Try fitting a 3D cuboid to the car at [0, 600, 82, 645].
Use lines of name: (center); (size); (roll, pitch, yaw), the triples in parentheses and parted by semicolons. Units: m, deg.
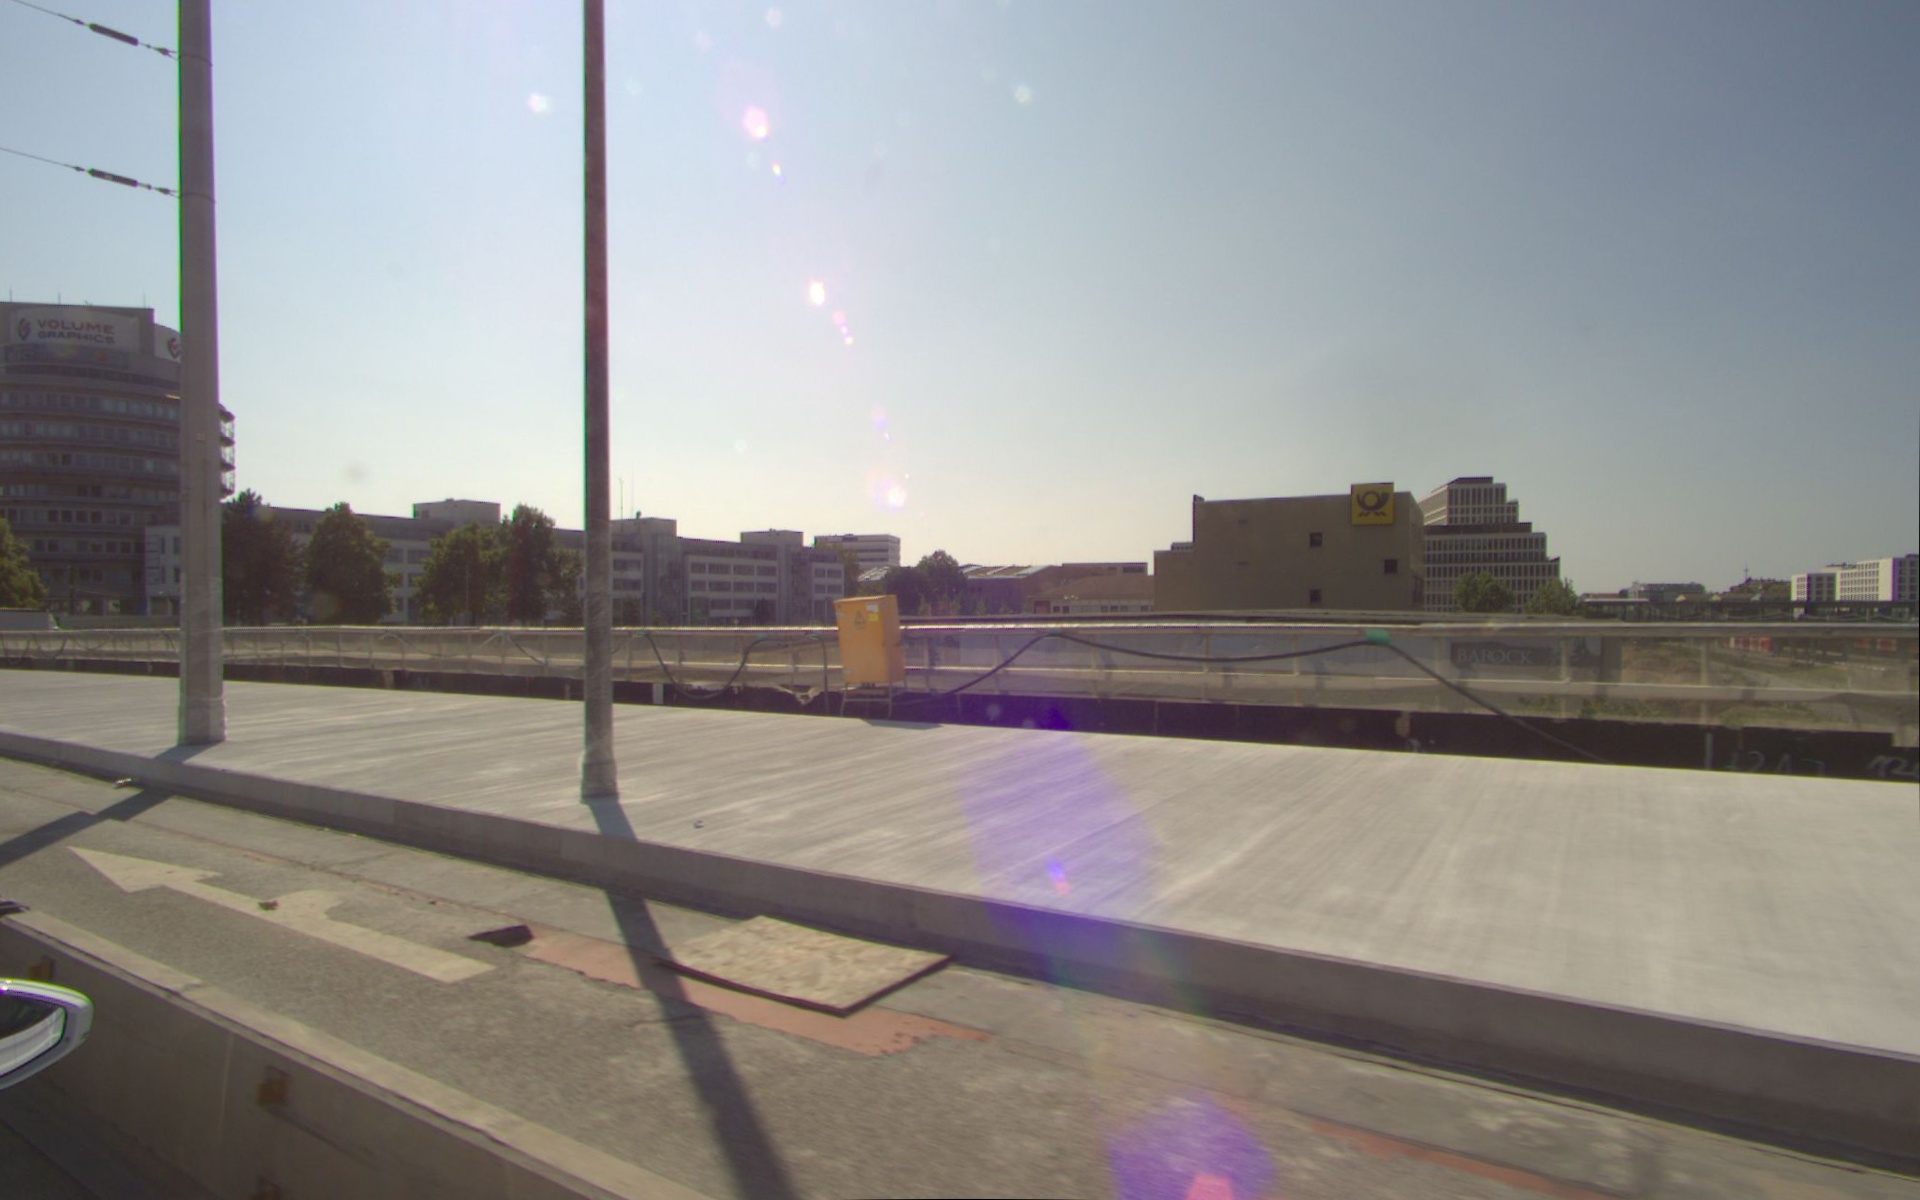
car: (-62.571, 1.496, 66.598); (2.303, 2.924, 5.965); (1, -1, 15)
